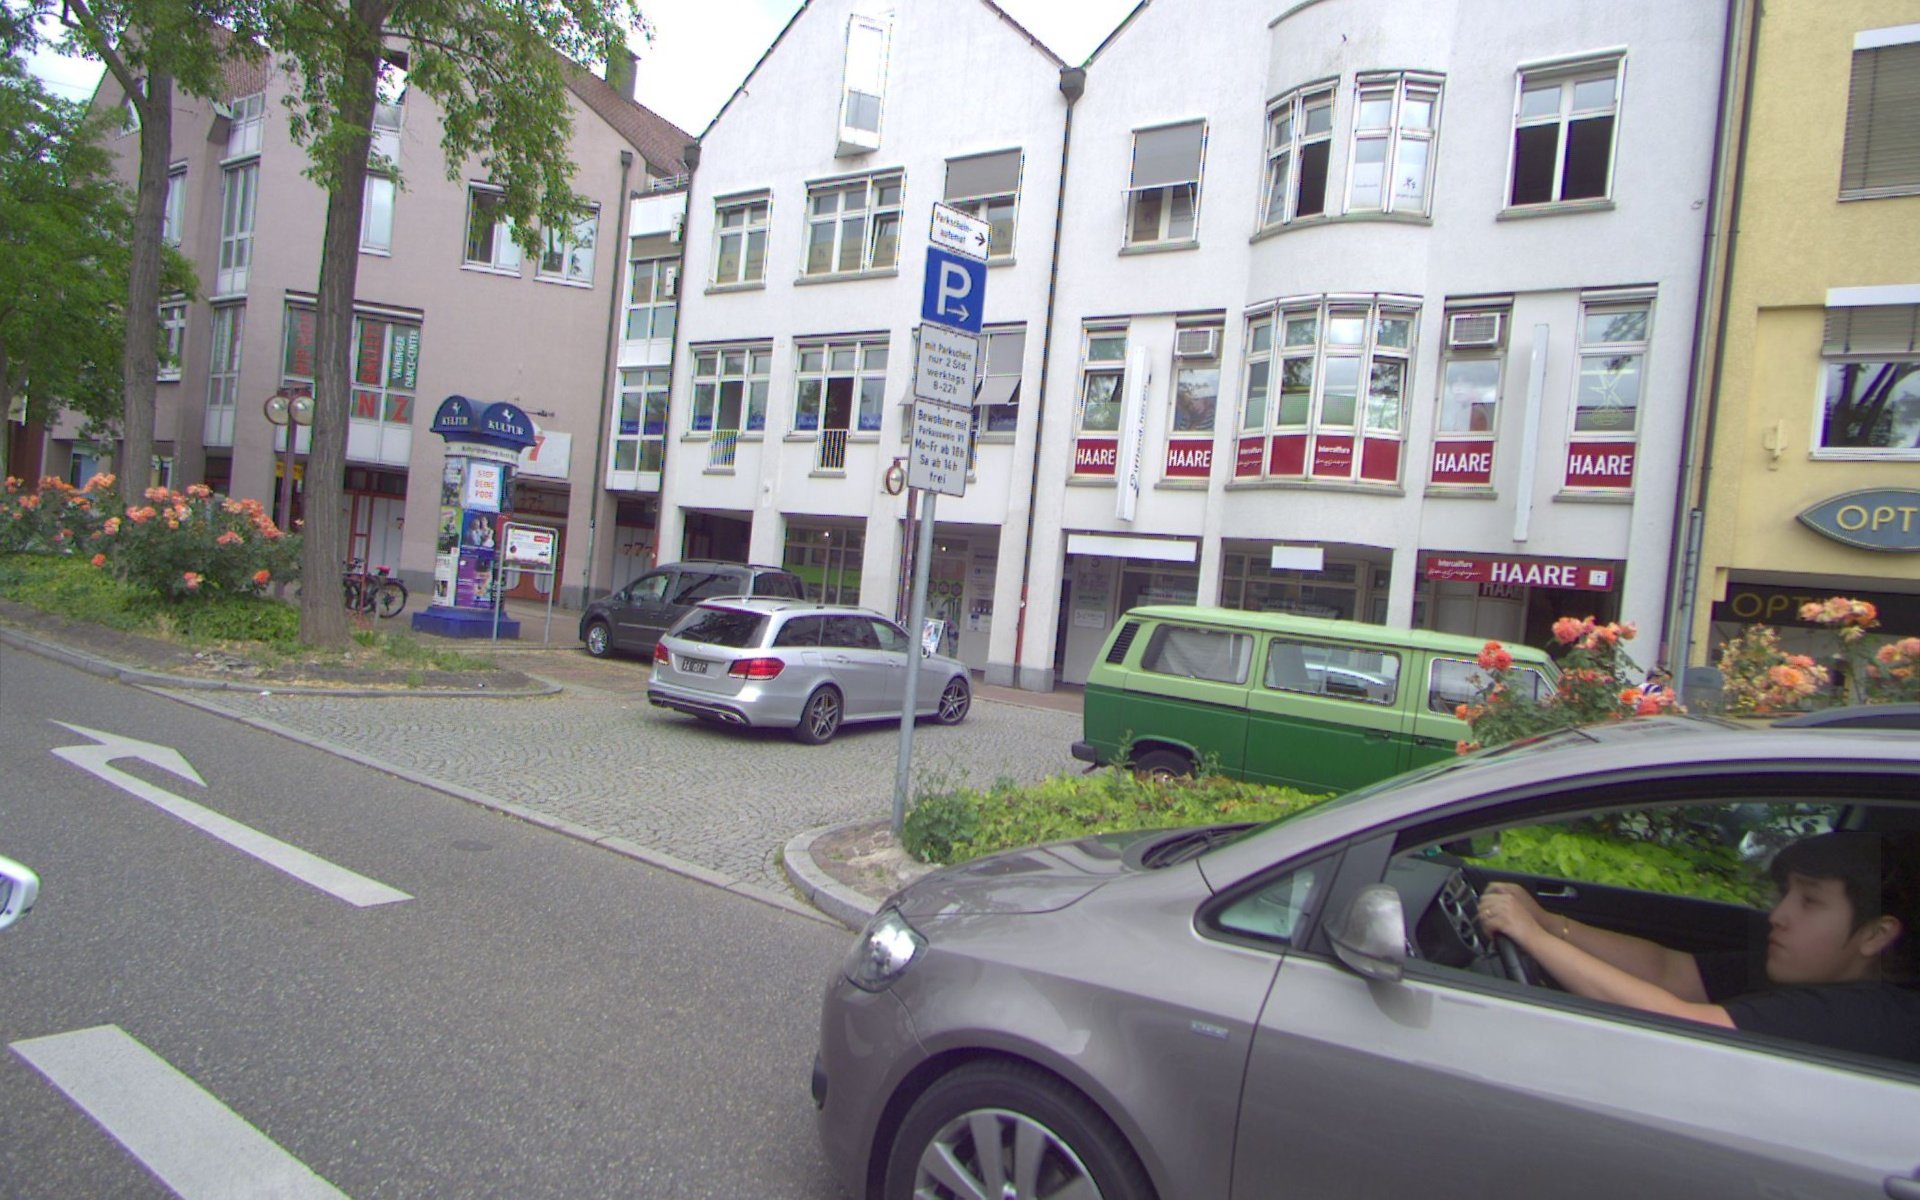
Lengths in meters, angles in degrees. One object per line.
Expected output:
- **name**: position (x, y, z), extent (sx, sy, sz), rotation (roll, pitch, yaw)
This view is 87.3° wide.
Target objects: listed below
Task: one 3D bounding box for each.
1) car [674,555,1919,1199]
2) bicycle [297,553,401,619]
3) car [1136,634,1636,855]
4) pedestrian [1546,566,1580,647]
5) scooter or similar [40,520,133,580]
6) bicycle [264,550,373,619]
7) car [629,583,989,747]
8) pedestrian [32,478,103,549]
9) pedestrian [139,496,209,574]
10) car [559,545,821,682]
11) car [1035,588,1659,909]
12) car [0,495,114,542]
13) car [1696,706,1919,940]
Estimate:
- **car**: position (1.553, 0.949, 2.142), extent (3.932, 1.547, 1.801), rotation (7, -2, 30)
- **bicycle**: position (-11.597, -0.256, 19.128), extent (1.545, 1.061, 0.405), rotation (7, 1, -17)
- **car**: position (4.612, 1.431, 11.339), extent (4.672, 1.567, 1.996), rotation (6, 1, 28)
- **pedestrian**: position (12.694, 0.139, 21.182), extent (0.416, 1.631, 0.556), rotation (7, 1, 28)
- **scooter or similar**: position (-18.728, -1.076, 21.557), extent (1.852, 1.101, 0.471), rotation (6, 1, 14)
- **bicycle**: position (-11.750, -0.278, 18.457), extent (1.545, 1.061, 0.405), rotation (7, 1, -17)
- **car**: position (-1.569, 0.761, 12.314), extent (1.711, 1.472, 4.643), rotation (7, 0, 31)
- **pedestrian**: position (-24.560, -2.376, 27.683), extent (1.091, 1.736, 1.057), rotation (7, 0, 30)
- **pedestrian**: position (-18.188, -1.494, 23.289), extent (1.075, 1.647, 0.809), rotation (7, 1, 29)
- **car**: position (-4.673, 0.200, 17.245), extent (4.188, 1.827, 1.736), rotation (6, 1, 29)
- **car**: position (3.289, 1.087, 9.139), extent (4.672, 1.900, 1.996), rotation (6, 1, 29)
- **car**: position (-39.217, -3.517, 43.069), extent (1.770, 1.421, 4.182), rotation (7, -1, 29)
- **car**: position (7.980, 1.732, 6.691), extent (4.673, 1.326, 1.840), rotation (6, 1, 29)
